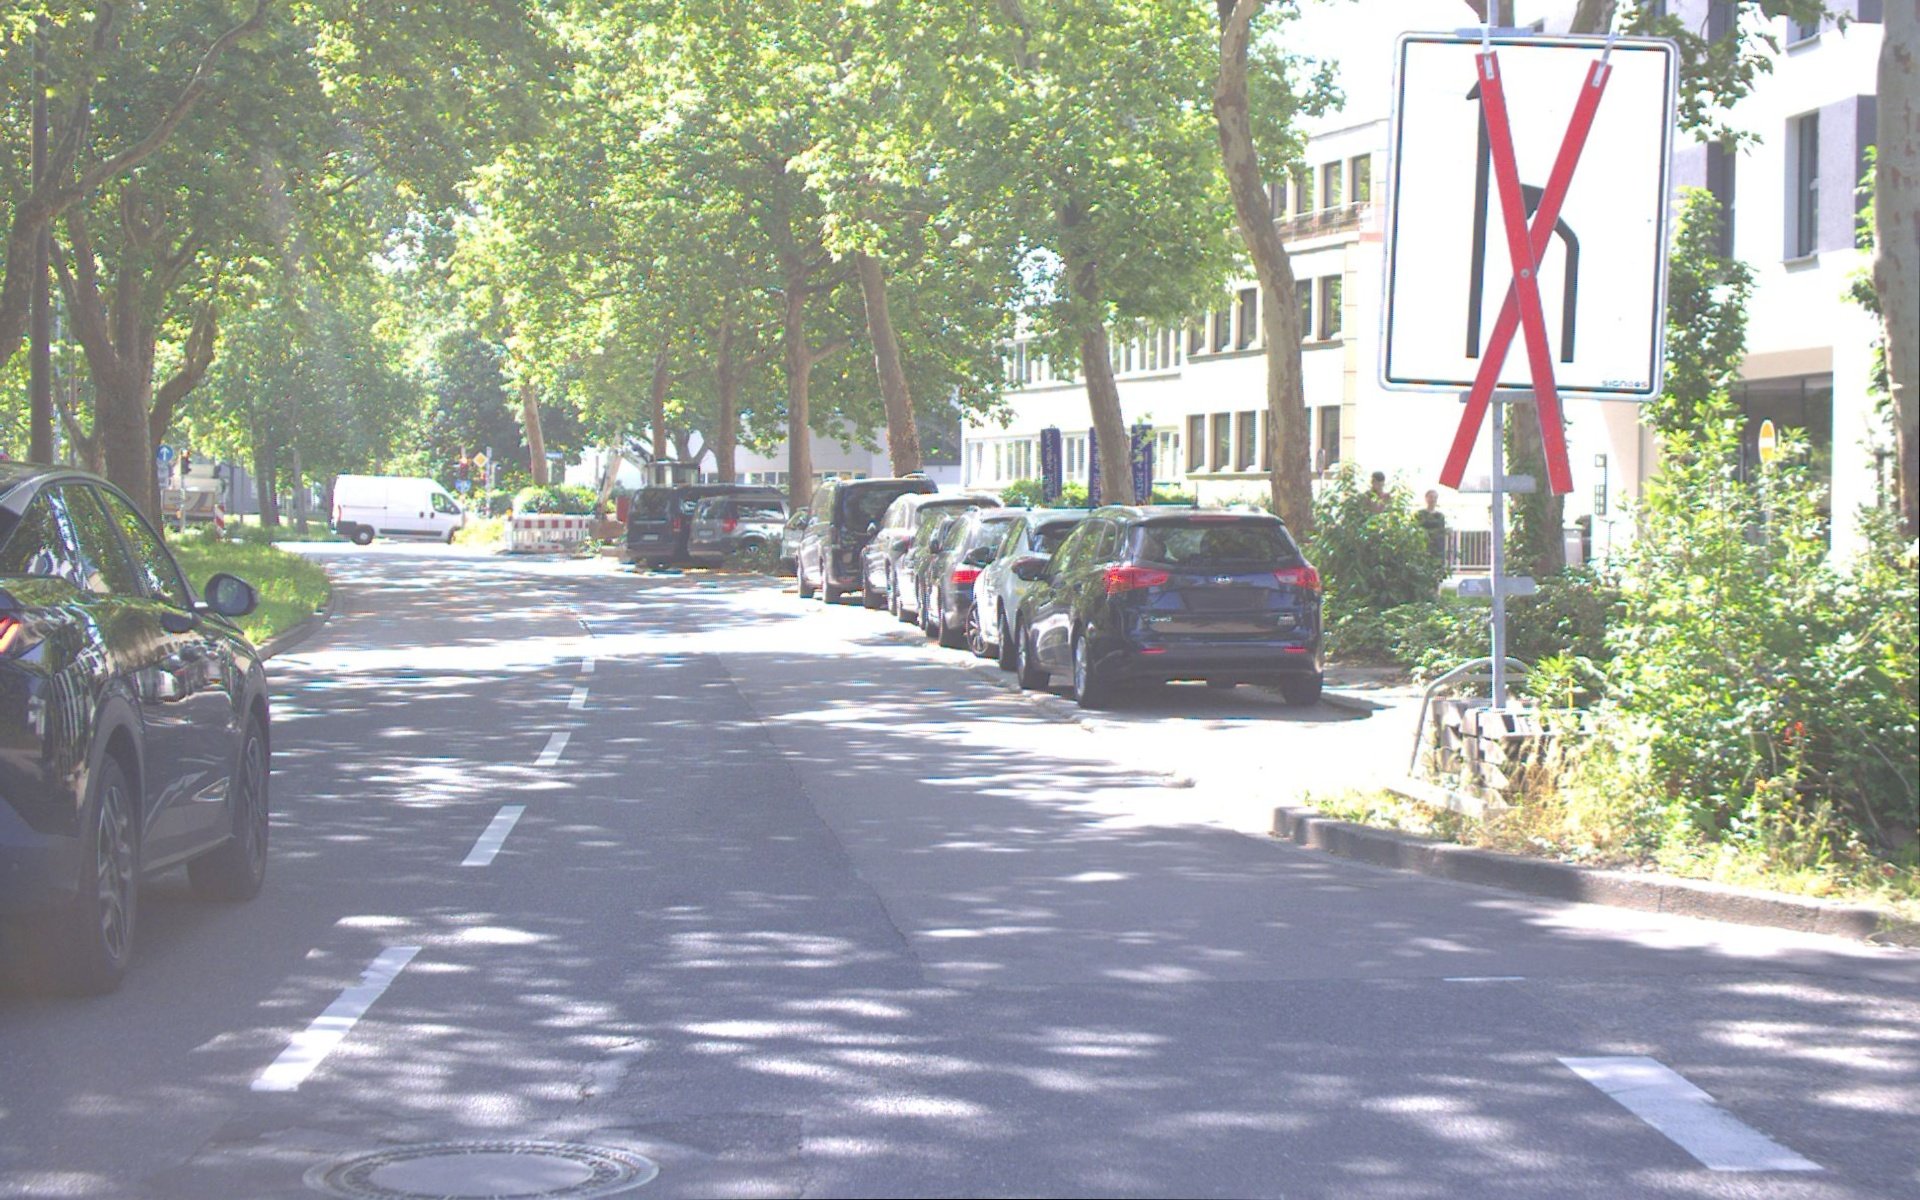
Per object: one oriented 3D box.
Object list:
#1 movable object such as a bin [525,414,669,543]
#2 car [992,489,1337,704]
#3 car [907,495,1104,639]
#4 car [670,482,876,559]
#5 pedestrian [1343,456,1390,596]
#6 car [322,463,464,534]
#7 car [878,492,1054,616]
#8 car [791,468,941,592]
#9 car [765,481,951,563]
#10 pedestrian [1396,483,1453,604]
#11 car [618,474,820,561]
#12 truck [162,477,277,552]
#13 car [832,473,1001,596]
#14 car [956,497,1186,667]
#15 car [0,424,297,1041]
[{"bbox_3d":[-9.330,-3.116,88.232,2.328,3.229,3.431,-1,2,-34],"label":"movable object such as a bin"},{"bbox_3d":[1.465,-0.102,26.516,1.706,1.482,4.720,-1,2,-8],"label":"car"},{"bbox_3d":[0.429,-0.405,37.141,1.706,1.450,4.657,0,2,-5],"label":"car"},{"bbox_3d":[-4.052,-1.723,74.458,4.099,1.627,1.713,-1,2,-25],"label":"car"},{"bbox_3d":[5.298,-0.967,44.795,0.475,1.802,0.637,0,1,-5],"label":"pedestrian"},{"bbox_3d":[-20.589,-3.676,124.828,4.980,2.533,2.001,0,1,-12],"label":"car"},{"bbox_3d":[0.025,-0.627,43.581,1.706,1.482,4.486,0,2,-7],"label":"car"},{"bbox_3d":[-1.515,-1.121,53.577,1.706,1.835,4.728,0,2,-9],"label":"car"},{"bbox_3d":[-2.095,-1.596,70.187,3.551,1.634,1.660,0,2,-12],"label":"car"},{"bbox_3d":[6.078,-0.743,44.962,0.613,1.575,0.570,0,1,-5],"label":"pedestrian"},{"bbox_3d":[-5.330,-1.832,76.108,4.099,1.873,1.785,-1,2,-26],"label":"car"},{"bbox_3d":[-36.705,-4.226,170.508,5.525,3.665,2.001,0,1,-10],"label":"truck"},{"bbox_3d":[-0.669,-0.956,48.758,1.706,1.663,4.535,0,2,-9],"label":"car"},{"bbox_3d":[0.974,-0.222,32.282,1.706,1.482,4.102,0,2,-5],"label":"car"},{"bbox_3d":[-3.531,0.305,11.593,1.872,1.690,4.436,-1,2,-2],"label":"car"}]
